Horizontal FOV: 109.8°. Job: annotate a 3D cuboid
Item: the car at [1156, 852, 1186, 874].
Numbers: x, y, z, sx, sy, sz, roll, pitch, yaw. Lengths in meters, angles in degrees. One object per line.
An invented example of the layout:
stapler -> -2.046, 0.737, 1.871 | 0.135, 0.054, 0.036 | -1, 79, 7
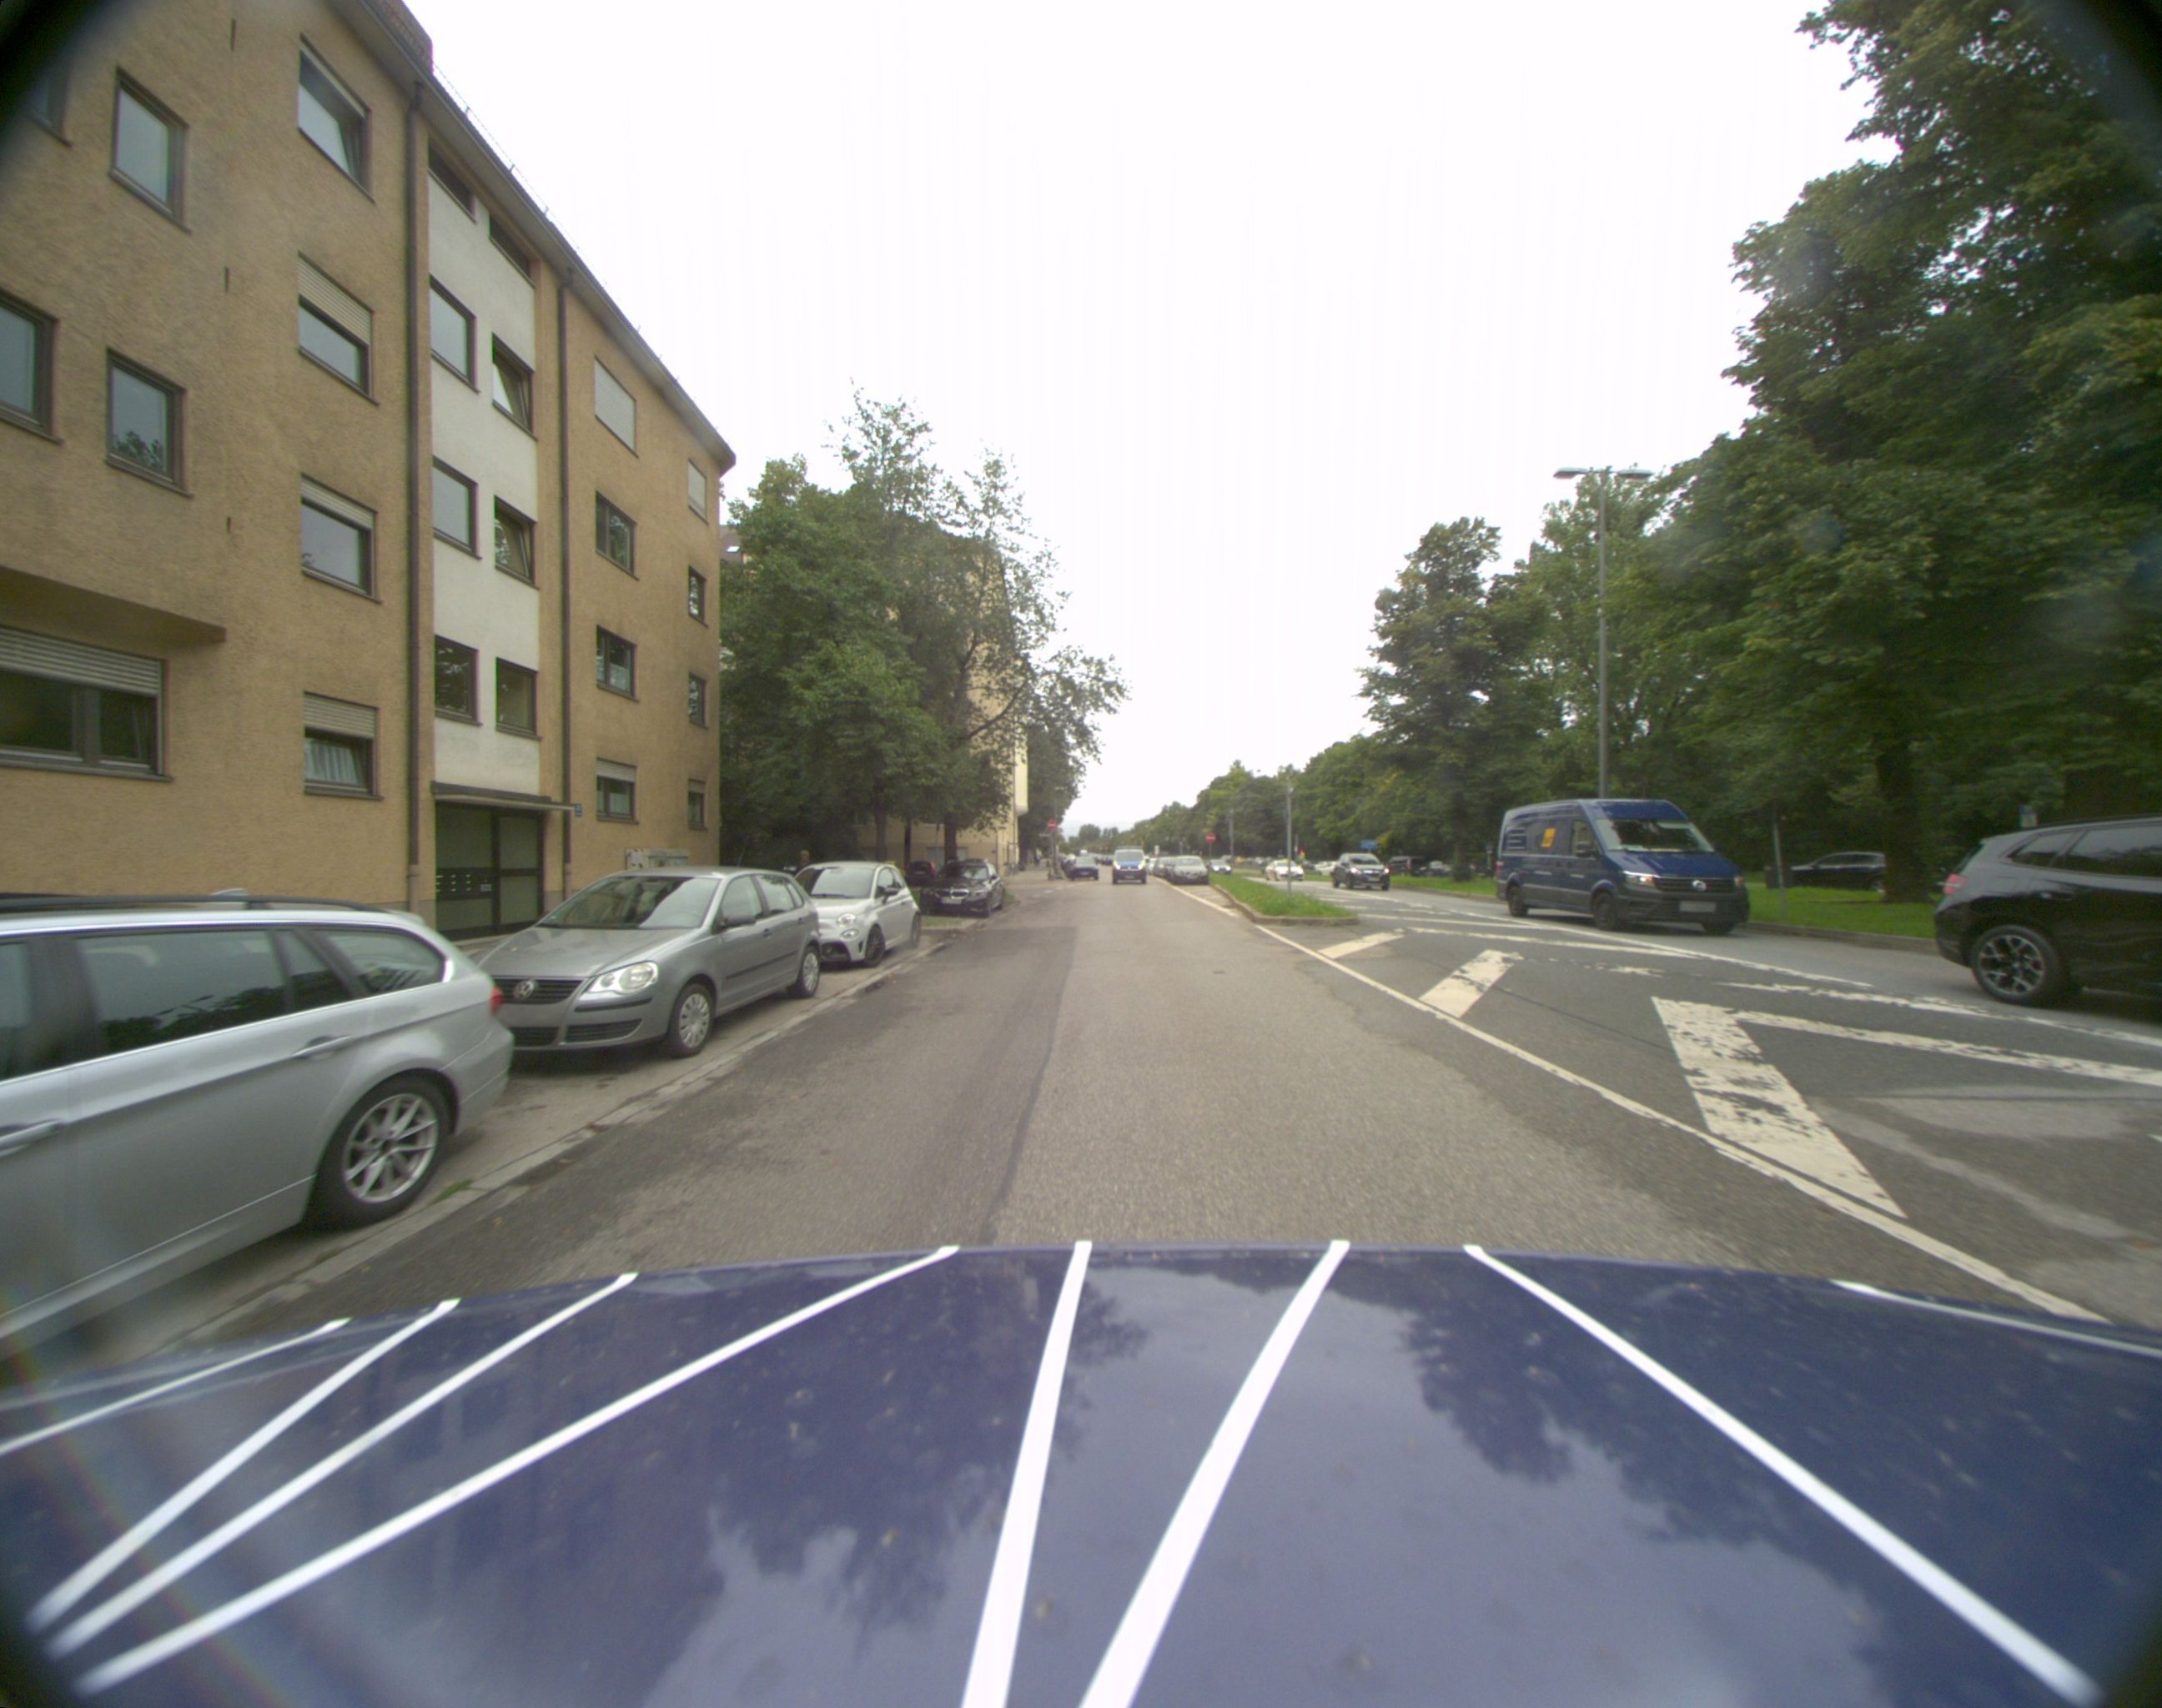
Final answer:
car -> 6.634, 0.630, 56.284 | 1.991, 1.556, 4.284 | 0, 0, 4

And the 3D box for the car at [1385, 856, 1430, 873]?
car -> 31.522, 0.991, 73.481 | 1.999, 1.526, 4.705 | 1, 0, -4

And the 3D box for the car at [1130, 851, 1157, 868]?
car -> 6.267, 0.533, 76.741 | 2.075, 1.692, 5.089 | -1, 0, -3

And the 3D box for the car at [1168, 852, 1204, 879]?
car -> 6.332, 0.683, 46.358 | 1.991, 1.556, 4.284 | 0, 0, 5

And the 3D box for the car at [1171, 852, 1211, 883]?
car -> 5.787, 0.689, 40.461 | 1.903, 1.556, 4.772 | 0, 0, 5

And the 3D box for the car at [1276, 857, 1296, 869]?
car -> 30.310, 1.318, 112.451 | 1.885, 1.735, 4.000 | -1, 0, 0

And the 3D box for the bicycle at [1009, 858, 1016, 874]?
bicycle -> -5.144, 0.874, 56.868 | 0.364, 1.164, 1.318 | 0, 0, -11

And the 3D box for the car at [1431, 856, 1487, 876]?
car -> 28.384, 0.916, 57.177 | 1.897, 1.438, 4.031 | 0, 0, -6

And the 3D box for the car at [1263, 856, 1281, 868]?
car -> 29.991, 1.232, 119.522 | 1.866, 1.735, 4.000 | -1, 0, 0

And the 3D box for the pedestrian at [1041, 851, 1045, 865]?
pedestrian -> -5.490, 0.573, 110.707 | 0.458, 2.002, 0.617 | 0, 0, -18

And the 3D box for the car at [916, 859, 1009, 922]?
car -> -3.172, 0.919, 21.227 | 1.796, 1.488, 4.376 | 2, 0, 1

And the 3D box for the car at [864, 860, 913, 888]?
car -> -10.813, 1.092, 42.978 | 1.917, 1.458, 4.244 | 0, 0, -3

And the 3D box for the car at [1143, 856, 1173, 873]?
car -> 6.767, 0.885, 67.200 | 1.993, 1.447, 4.281 | 0, 0, -3

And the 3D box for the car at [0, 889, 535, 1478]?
car -> -3.783, 0.940, 1.812 | 1.694, 1.487, 4.434 | 1, 0, 1

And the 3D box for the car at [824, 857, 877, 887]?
car -> -13.050, 0.967, 43.277 | 1.917, 1.610, 4.244 | 0, 0, -3

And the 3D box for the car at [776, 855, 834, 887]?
car -> -15.692, 0.917, 43.451 | 1.917, 1.741, 4.244 | 0, 0, -2

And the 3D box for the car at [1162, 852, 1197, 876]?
car -> 6.558, 0.660, 51.008 | 1.992, 1.556, 4.283 | 0, 0, 2

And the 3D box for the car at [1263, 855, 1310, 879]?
car -> 14.354, 0.877, 53.305 | 1.992, 1.556, 4.654 | 0, 0, -1

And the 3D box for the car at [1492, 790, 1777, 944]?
car -> 10.447, 0.171, 15.143 | 2.187, 2.449, 5.855 | 0, 1, 9

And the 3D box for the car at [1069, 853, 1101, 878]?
car -> 0.295, 0.767, 52.317 | 2.129, 1.556, 4.507 | -1, 0, 1

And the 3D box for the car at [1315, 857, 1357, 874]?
car -> 22.169, 0.969, 66.127 | 1.833, 1.438, 4.234 | 1, 0, -6

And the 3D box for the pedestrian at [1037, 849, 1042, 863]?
pedestrian -> -6.008, 0.286, 110.084 | 0.458, 2.002, 0.617 | 0, 0, -18

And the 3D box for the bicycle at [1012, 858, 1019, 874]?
bicycle -> -5.062, 0.917, 58.859 | 0.401, 1.164, 1.318 | 0, 0, -11

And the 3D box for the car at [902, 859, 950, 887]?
car -> -8.740, 1.047, 43.151 | 2.054, 1.458, 4.244 | 0, 0, -3

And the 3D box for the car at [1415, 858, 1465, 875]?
car -> 31.552, 1.078, 66.909 | 1.999, 1.438, 4.524 | 1, 0, -4

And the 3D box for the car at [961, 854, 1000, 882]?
car -> -5.681, 0.765, 43.323 | 1.825, 1.556, 4.244 | 0, 0, -3

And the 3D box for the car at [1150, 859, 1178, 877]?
car -> 6.653, 1.076, 61.116 | 1.766, 1.362, 4.282 | 0, 0, 0

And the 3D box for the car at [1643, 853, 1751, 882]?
car -> 33.147, 0.715, 41.089 | 1.999, 1.438, 4.524 | 1, 0, -4

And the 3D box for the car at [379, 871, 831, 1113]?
car -> -3.762, 0.947, 6.893 | 1.632, 1.487, 3.787 | 1, 0, 1

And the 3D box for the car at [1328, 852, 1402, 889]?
car -> 12.970, 0.723, 34.951 | 1.992, 1.618, 4.274 | 0, 0, 3

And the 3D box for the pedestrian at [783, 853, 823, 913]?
pedestrian -> -7.646, 0.779, 20.918 | 0.672, 1.614, 0.980 | 0, 1, 2

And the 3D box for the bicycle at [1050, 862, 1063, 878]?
bicycle -> -1.654, 1.075, 51.056 | 0.632, 1.031, 1.736 | 0, 0, 6

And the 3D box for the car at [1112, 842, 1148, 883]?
car -> 2.831, 0.419, 43.036 | 1.855, 2.198, 4.555 | 0, 1, 6

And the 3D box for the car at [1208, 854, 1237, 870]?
car -> 14.204, 0.810, 76.451 | 1.992, 1.556, 4.272 | 0, 0, -2

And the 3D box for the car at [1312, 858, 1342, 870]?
car -> 30.930, 1.274, 95.633 | 1.999, 1.438, 4.316 | 1, 0, -4

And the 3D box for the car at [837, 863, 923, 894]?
car -> -9.723, 1.172, 36.918 | 3.705, 1.488, 1.734 | 0, 0, 2

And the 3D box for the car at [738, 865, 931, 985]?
car -> -3.580, 0.951, 11.770 | 1.632, 1.487, 3.821 | 1, 0, 1

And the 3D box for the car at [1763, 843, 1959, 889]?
car -> 26.430, 0.406, 26.002 | 1.898, 1.438, 4.385 | 0, 0, -10

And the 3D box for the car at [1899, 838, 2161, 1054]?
car -> 8.865, 0.660, 5.124 | 1.917, 1.577, 4.833 | -2, 0, 8

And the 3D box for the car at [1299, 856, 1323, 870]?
car -> 30.752, 1.206, 101.837 | 1.999, 1.735, 4.000 | -1, 0, 0
